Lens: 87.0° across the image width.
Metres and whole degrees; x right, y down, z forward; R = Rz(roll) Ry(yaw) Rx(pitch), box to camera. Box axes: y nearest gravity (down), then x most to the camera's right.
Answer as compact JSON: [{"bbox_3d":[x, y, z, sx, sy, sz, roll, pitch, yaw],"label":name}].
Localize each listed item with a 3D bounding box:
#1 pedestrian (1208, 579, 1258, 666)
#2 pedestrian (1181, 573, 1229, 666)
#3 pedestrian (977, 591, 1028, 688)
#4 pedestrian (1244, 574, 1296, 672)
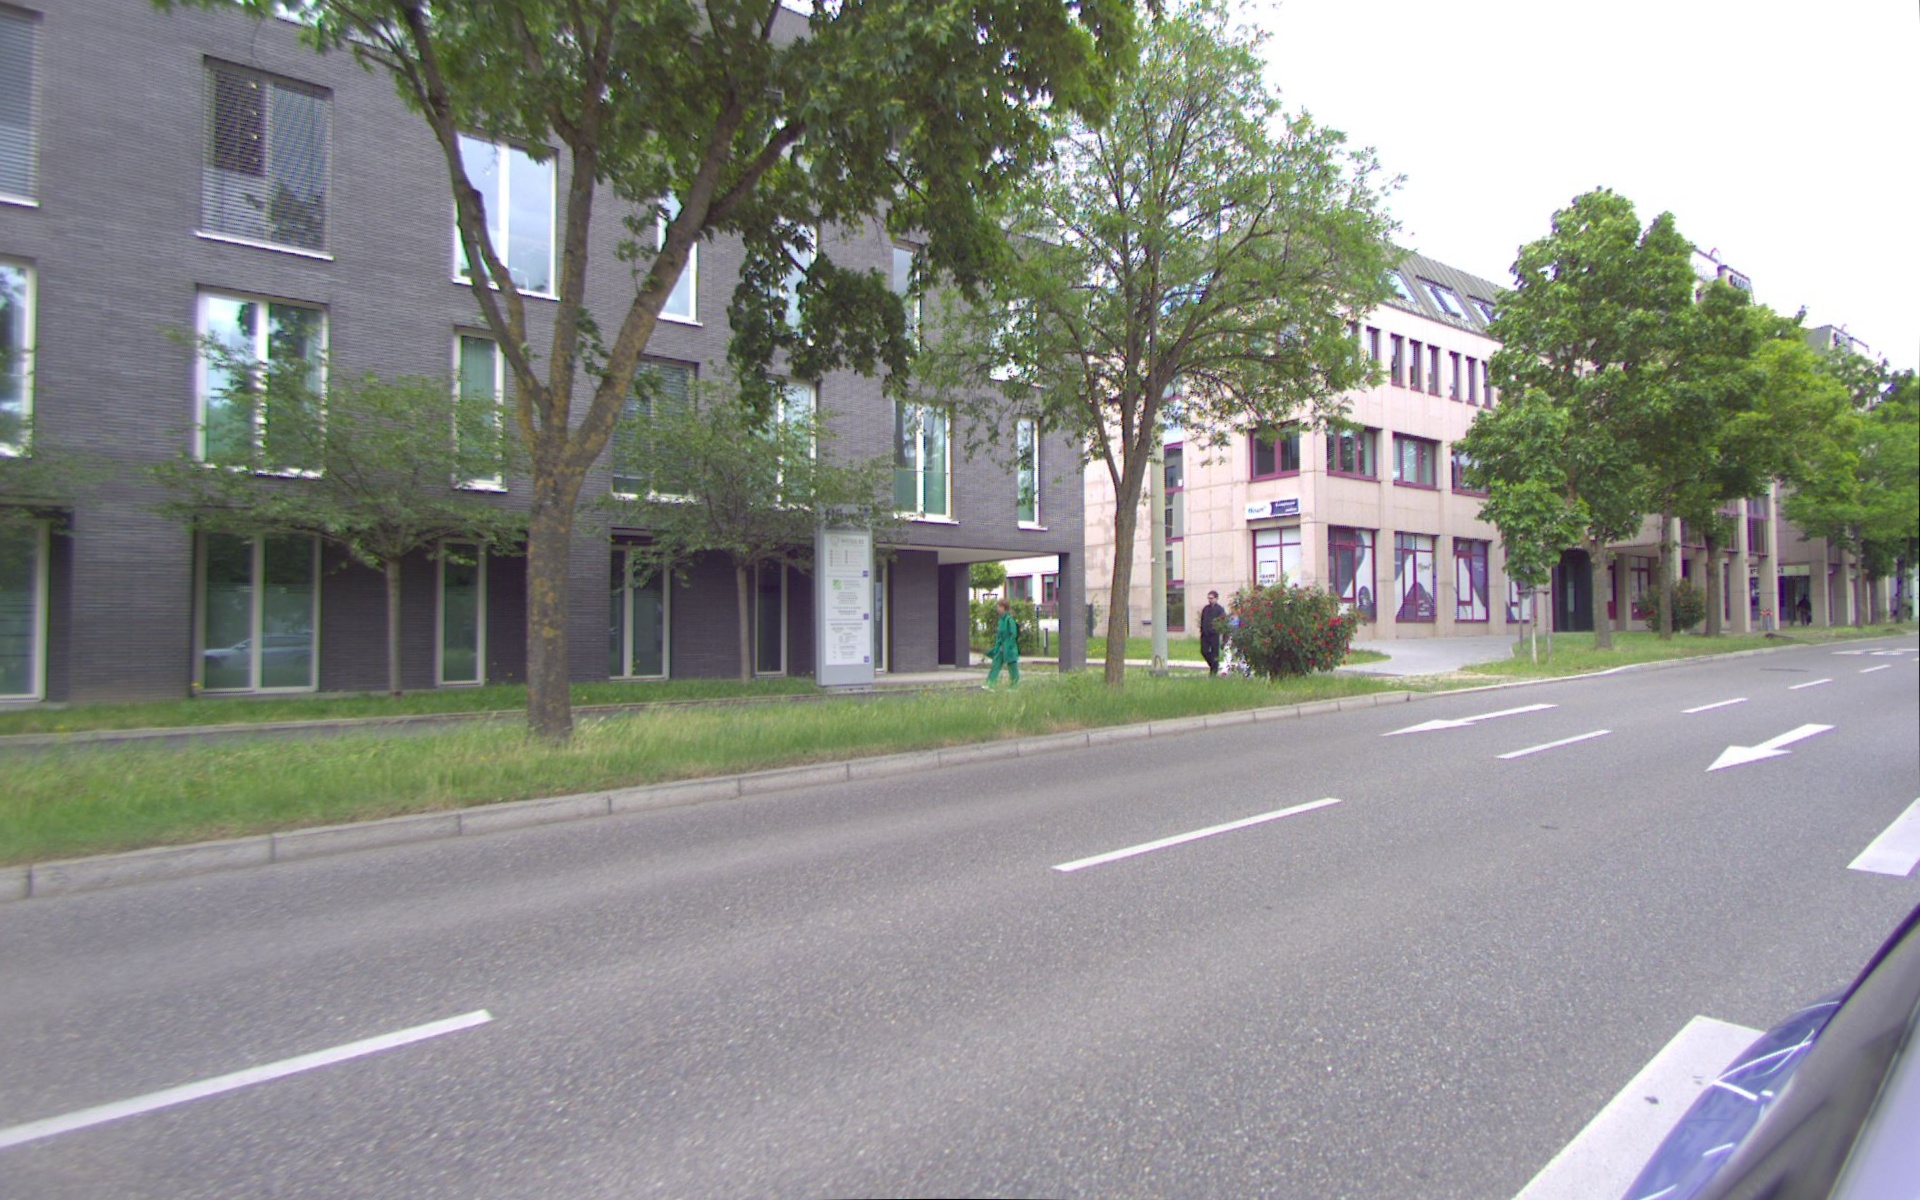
[{"bbox_3d":[5.336,0.431,19.786,0.665,1.668,0.642,0,-1,-40],"label":"pedestrian"},{"bbox_3d":[4.940,0.389,20.396,0.665,1.828,0.642,0,-1,-40],"label":"pedestrian"},{"bbox_3d":[0.702,0.636,16.646,0.665,1.537,0.496,0,2,-40],"label":"pedestrian"},{"bbox_3d":[5.882,0.425,19.202,0.665,1.828,0.642,0,-1,-40],"label":"pedestrian"}]
